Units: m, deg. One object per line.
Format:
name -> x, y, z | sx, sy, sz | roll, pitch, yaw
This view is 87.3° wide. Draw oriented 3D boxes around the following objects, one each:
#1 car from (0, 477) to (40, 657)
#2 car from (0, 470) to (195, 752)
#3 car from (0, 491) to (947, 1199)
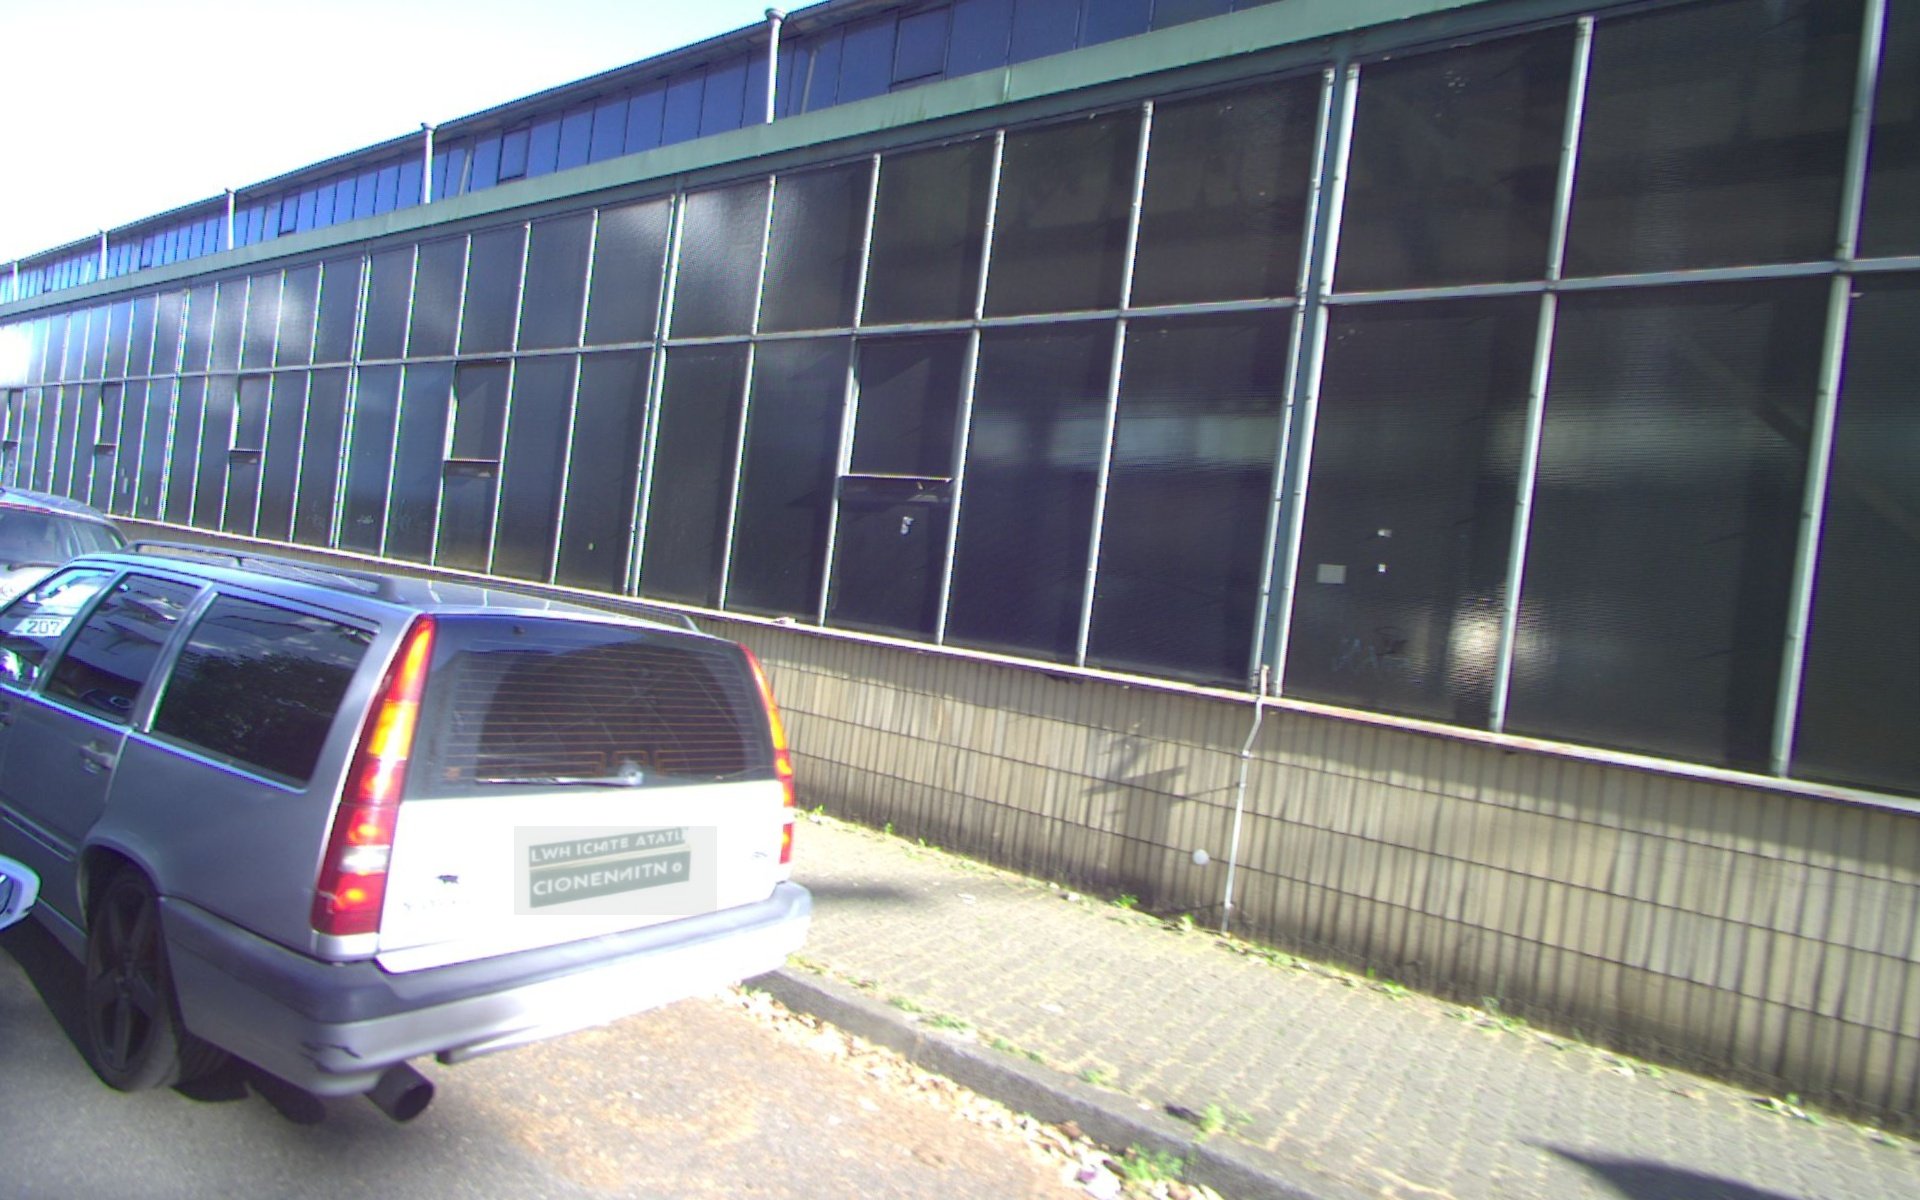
car -> -10.842, -0.545, 9.772 | 3.936, 1.655, 1.753 | 7, 0, 32
car -> -7.338, -0.124, 7.094 | 4.241, 1.655, 1.752 | 7, 0, 35
car -> -2.495, 0.497, 3.976 | 4.455, 1.511, 1.902 | 7, -1, 32
